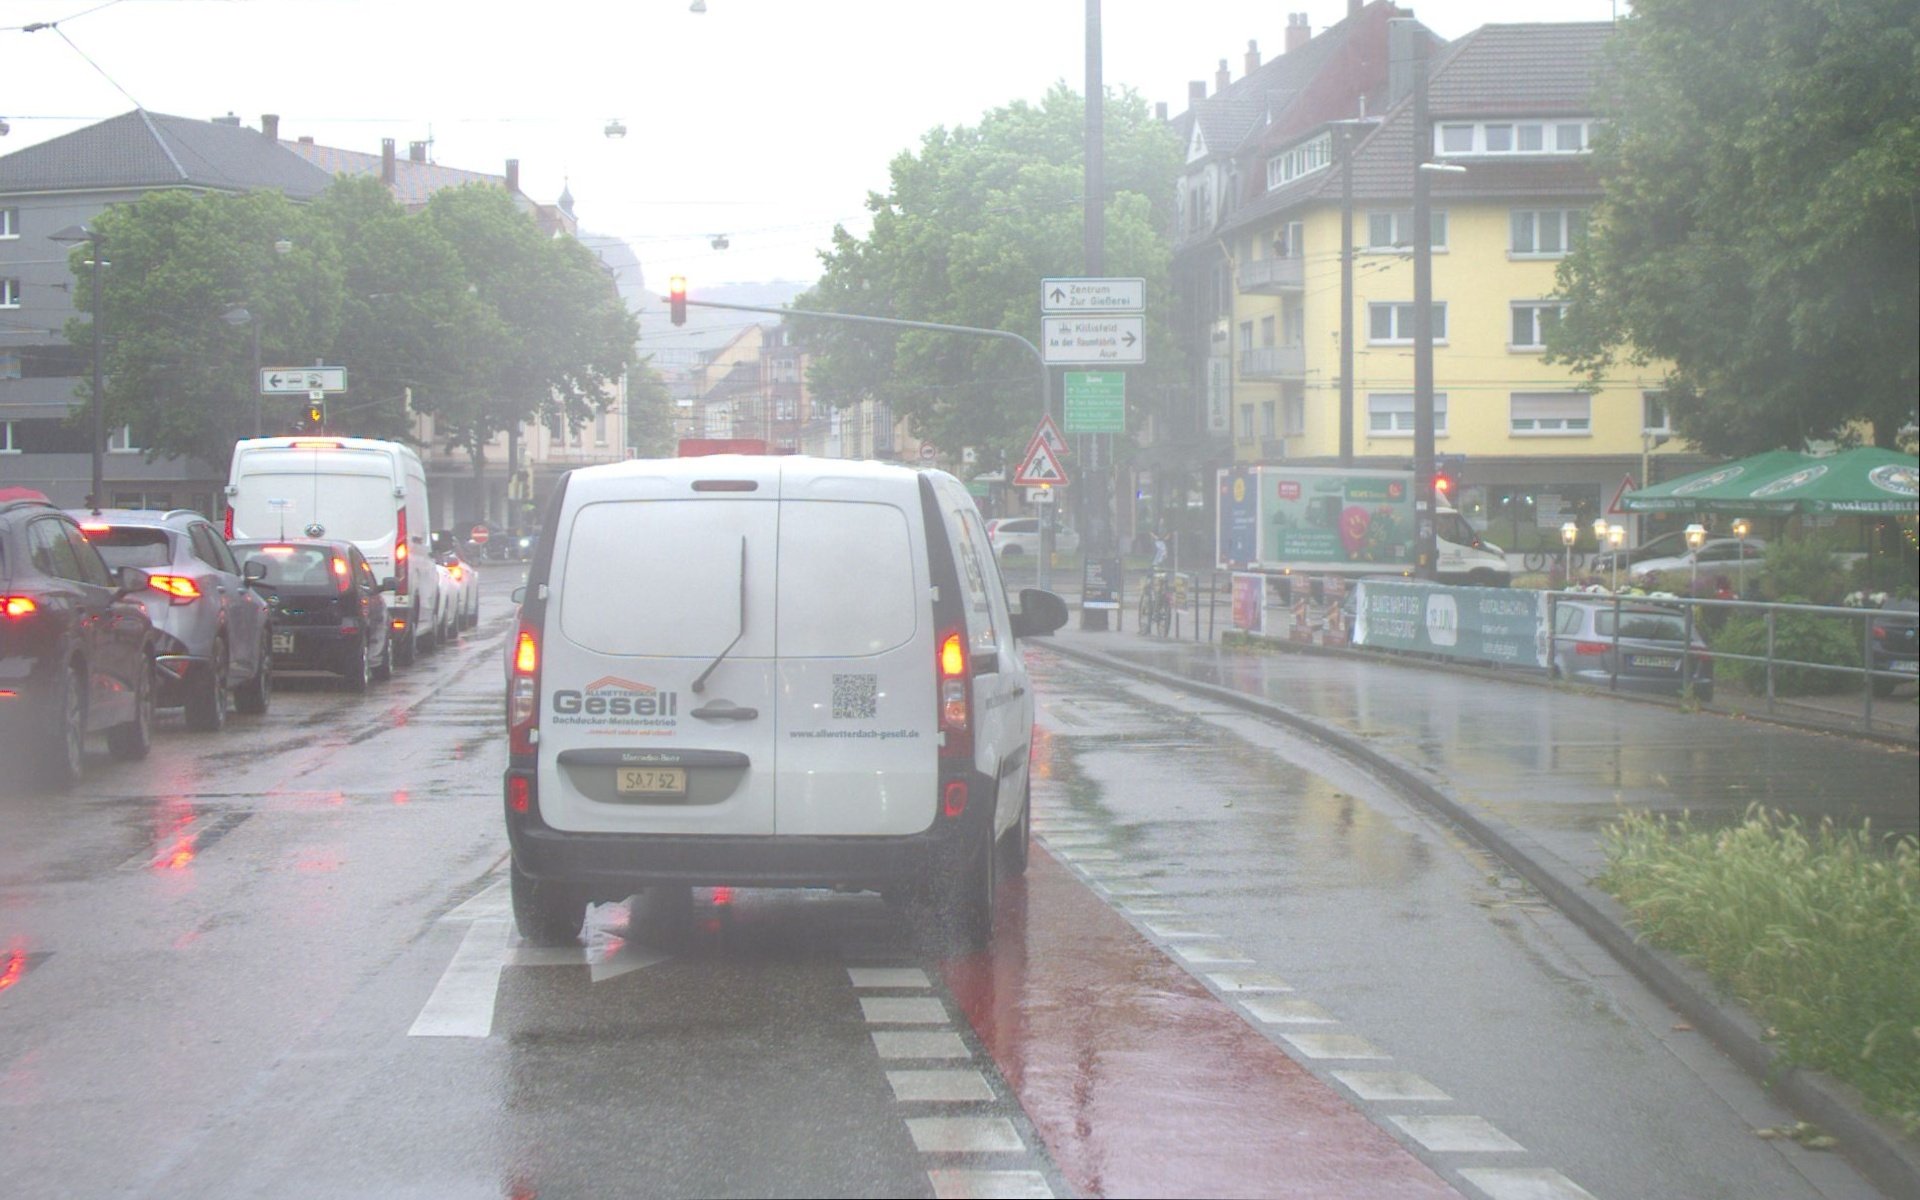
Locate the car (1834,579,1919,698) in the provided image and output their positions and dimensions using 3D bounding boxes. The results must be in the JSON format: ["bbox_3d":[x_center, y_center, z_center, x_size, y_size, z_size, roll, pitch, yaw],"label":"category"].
[{"bbox_3d":[13.719,0.466,46.810,1.889,1.473,3.990,1,3,42],"label":"car"}]

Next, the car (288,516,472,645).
[{"bbox_3d":[-7.732,-0.273,46.219,1.993,1.591,4.613,2,1,-5],"label":"car"}]

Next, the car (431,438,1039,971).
[{"bbox_3d":[-0.722,0.348,13.387,1.959,1.771,3.569,1,0,3],"label":"car"}]

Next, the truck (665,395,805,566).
[{"bbox_3d":[-6.789,-3.661,105.544,3.278,4.882,11.402,-1,2,1],"label":"truck"}]

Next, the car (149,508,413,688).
[{"bbox_3d":[-6.504,-0.042,33.367,1.993,1.573,4.293,2,1,-5],"label":"car"}]

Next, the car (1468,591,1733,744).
[{"bbox_3d":[7.237,0.718,39.268,1.822,1.485,4.354,-1,2,-5],"label":"car"}]

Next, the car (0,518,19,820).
[{"bbox_3d":[-5.511,0.369,14.853,1.993,1.467,4.267,2,2,-5],"label":"car"}]

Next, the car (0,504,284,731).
[{"bbox_3d":[-6.513,0.093,26.619,1.993,1.573,4.293,2,1,-5],"label":"car"}]

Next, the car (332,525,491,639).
[{"bbox_3d":[-8.295,-0.289,52.324,1.993,1.591,4.613,2,1,-5],"label":"car"}]

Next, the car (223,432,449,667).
[{"bbox_3d":[-6.978,-0.564,38.862,1.993,2.434,4.613,2,1,-5],"label":"car"}]

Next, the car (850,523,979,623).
[{"bbox_3d":[-0.716,-0.458,55.089,1.993,1.536,4.000,0,1,0],"label":"car"}]

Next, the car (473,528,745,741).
[{"bbox_3d":[-2.574,0.229,25.885,1.760,1.464,3.533,1,0,-2],"label":"car"}]

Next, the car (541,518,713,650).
[{"bbox_3d":[-3.881,-0.195,40.536,1.760,1.464,3.533,1,0,-2],"label":"car"}]

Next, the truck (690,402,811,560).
[{"bbox_3d":[-6.692,-3.839,110.929,3.278,4.882,7.181,-1,2,1],"label":"truck"}]

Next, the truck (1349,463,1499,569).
[{"bbox_3d":[10.377,-1.862,76.930,2.639,2.291,2.000,1,0,-24],"label":"truck"}]

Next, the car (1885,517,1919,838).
[{"bbox_3d":[8.905,0.665,24.980,2.179,2.523,5.779,-1,2,-7],"label":"car"}]

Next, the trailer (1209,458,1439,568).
[{"bbox_3d":[8.035,-1.893,75.953,4.652,2.309,2.000,1,0,-23],"label":"trailer"}]

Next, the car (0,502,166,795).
[{"bbox_3d":[-6.116,0.210,20.610,1.993,1.573,4.293,2,1,-5],"label":"car"}]
